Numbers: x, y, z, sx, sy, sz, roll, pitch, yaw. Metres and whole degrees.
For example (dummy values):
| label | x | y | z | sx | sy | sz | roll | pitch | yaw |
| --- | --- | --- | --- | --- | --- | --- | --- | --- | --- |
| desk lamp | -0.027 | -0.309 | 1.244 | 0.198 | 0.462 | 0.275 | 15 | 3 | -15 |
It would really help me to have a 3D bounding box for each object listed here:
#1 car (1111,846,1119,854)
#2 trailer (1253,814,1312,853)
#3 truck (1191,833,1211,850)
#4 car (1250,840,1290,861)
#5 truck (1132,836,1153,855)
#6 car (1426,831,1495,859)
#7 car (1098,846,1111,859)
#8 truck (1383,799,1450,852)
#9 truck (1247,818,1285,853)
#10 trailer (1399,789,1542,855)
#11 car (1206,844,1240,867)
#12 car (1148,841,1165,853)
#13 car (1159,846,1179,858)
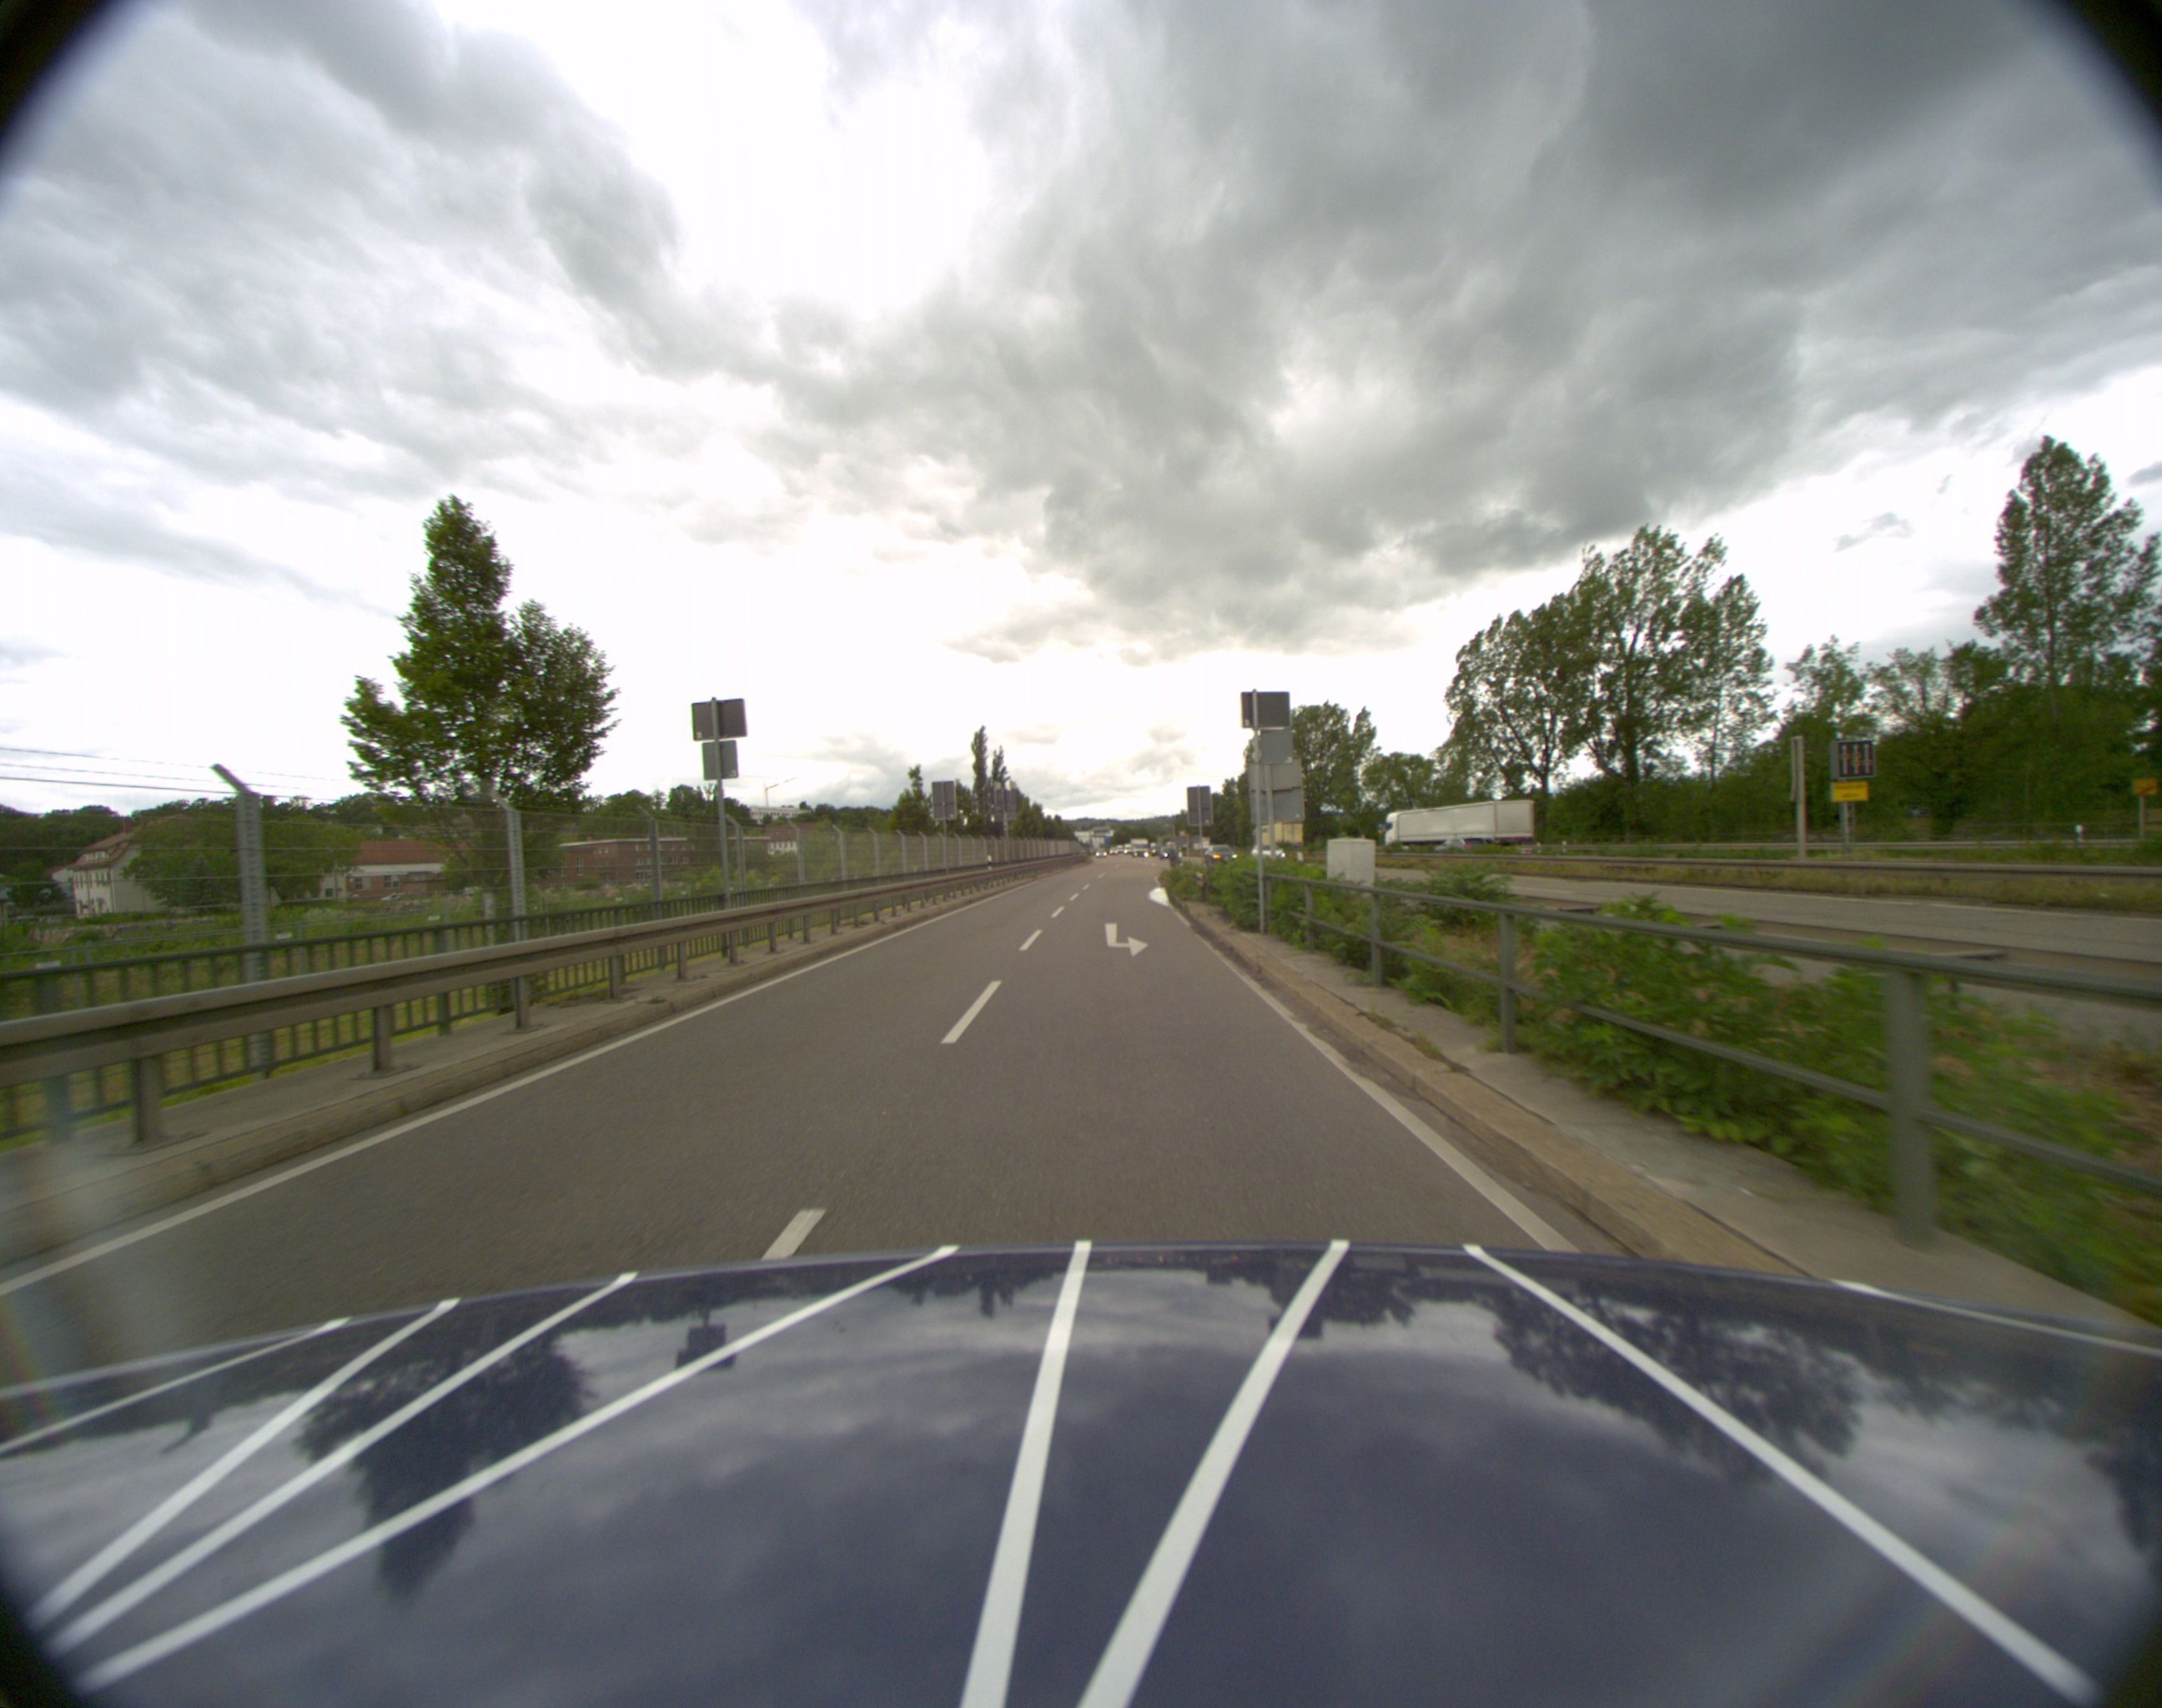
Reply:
| label | x | y | z | sx | sy | sz | roll | pitch | yaw |
| --- | --- | --- | --- | --- | --- | --- | --- | --- | --- |
| car | 8.381 | -1.000 | 188.132 | 1.998 | 2.002 | 4.000 | -2 | 0 | 2 |
| trailer | 26.686 | -2.554 | 101.628 | 3.472 | 4.646 | 14.778 | -3 | 1 | -2 |
| truck | 27.820 | -2.882 | 176.256 | 2.991 | 3.622 | 6.335 | -4 | 0 | -4 |
| car | 14.126 | -0.275 | 57.047 | 1.859 | 1.491 | 3.999 | -2 | 0 | -2 |
| truck | 10.511 | -1.456 | 131.243 | 3.039 | 3.141 | 7.567 | -2 | 1 | 1 |
| car | 23.115 | -0.573 | 46.418 | 1.999 | 1.513 | 3.998 | -4 | 1 | -3 |
| car | 4.144 | -0.293 | 133.490 | 1.998 | 2.002 | 4.000 | -4 | 1 | 5 |
| truck | 26.881 | -2.233 | 61.158 | 2.797 | 3.915 | 5.311 | -4 | 1 | -1 |
| truck | 26.482 | -2.610 | 109.051 | 3.473 | 4.646 | 6.209 | -3 | 1 | -2 |
| trailer | 27.032 | -2.120 | 53.896 | 2.797 | 3.926 | 13.509 | -4 | 1 | -1 |
| car | 10.162 | 0.102 | 54.478 | 1.939 | 1.492 | 4.305 | -1 | 0 | 5 |
| car | 13.529 | -1.326 | 135.805 | 2.100 | 2.002 | 5.336 | -2 | 2 | -4 |
| car | 10.009 | -0.191 | 86.449 | 1.728 | 1.319 | 3.647 | -2 | 0 | -2 |
